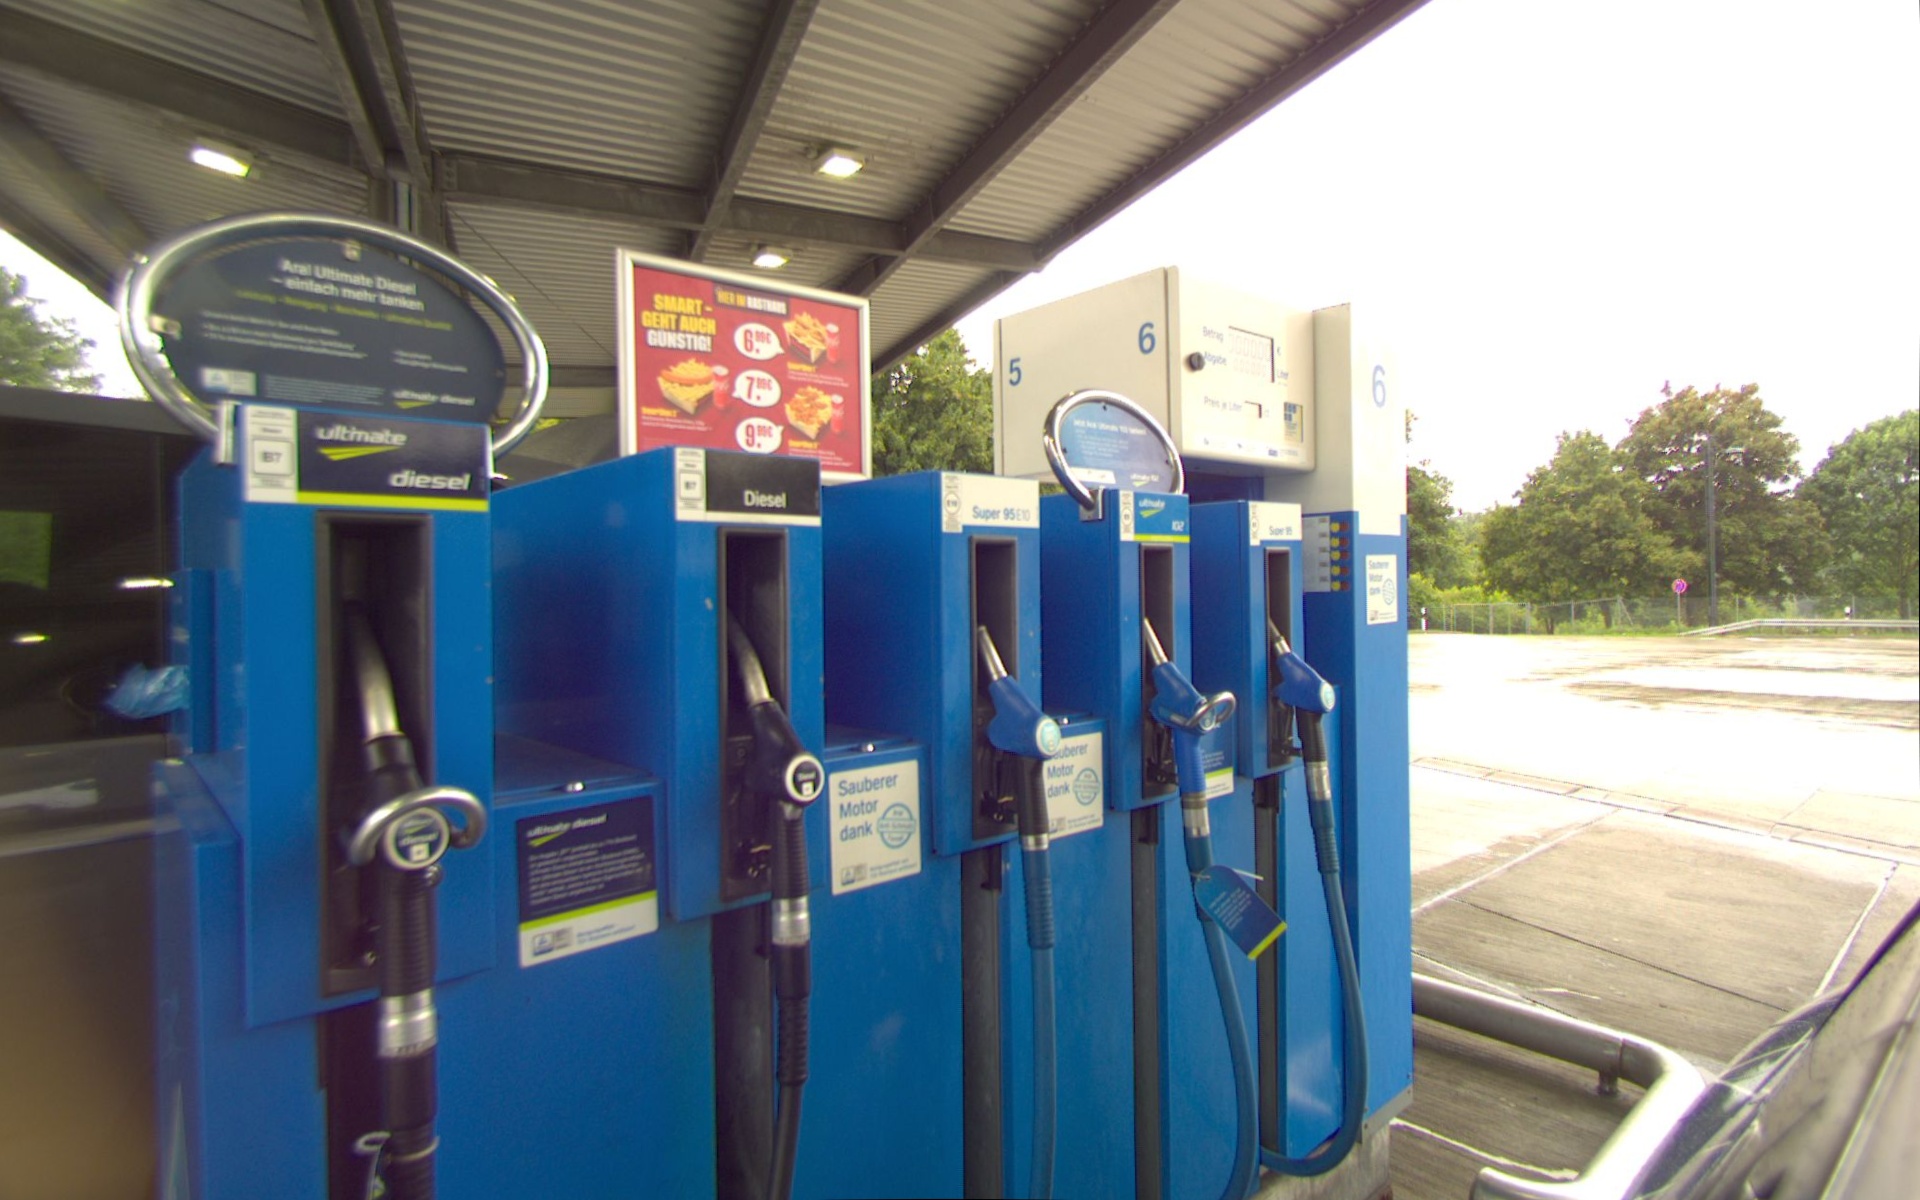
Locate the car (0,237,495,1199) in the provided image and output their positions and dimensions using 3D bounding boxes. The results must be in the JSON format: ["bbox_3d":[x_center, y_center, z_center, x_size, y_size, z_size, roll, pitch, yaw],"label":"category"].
[{"bbox_3d":[-3.028,0.405,1.477,3.930,1.973,1.819,0,0,-41],"label":"car"}]

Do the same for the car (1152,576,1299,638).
[{"bbox_3d":[8.930,0.207,34.331,4.700,2.011,2.007,0,0,14],"label":"car"}]

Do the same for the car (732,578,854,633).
[{"bbox_3d":[-5.576,0.149,33.484,1.967,1.683,4.170,0,0,-44],"label":"car"}]

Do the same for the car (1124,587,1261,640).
[{"bbox_3d":[7.393,0.404,32.146,4.123,1.576,1.990,1,0,17],"label":"car"}]

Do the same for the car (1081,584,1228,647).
[{"bbox_3d":[5.804,0.420,30.012,4.123,1.752,1.990,0,0,17],"label":"car"}]
